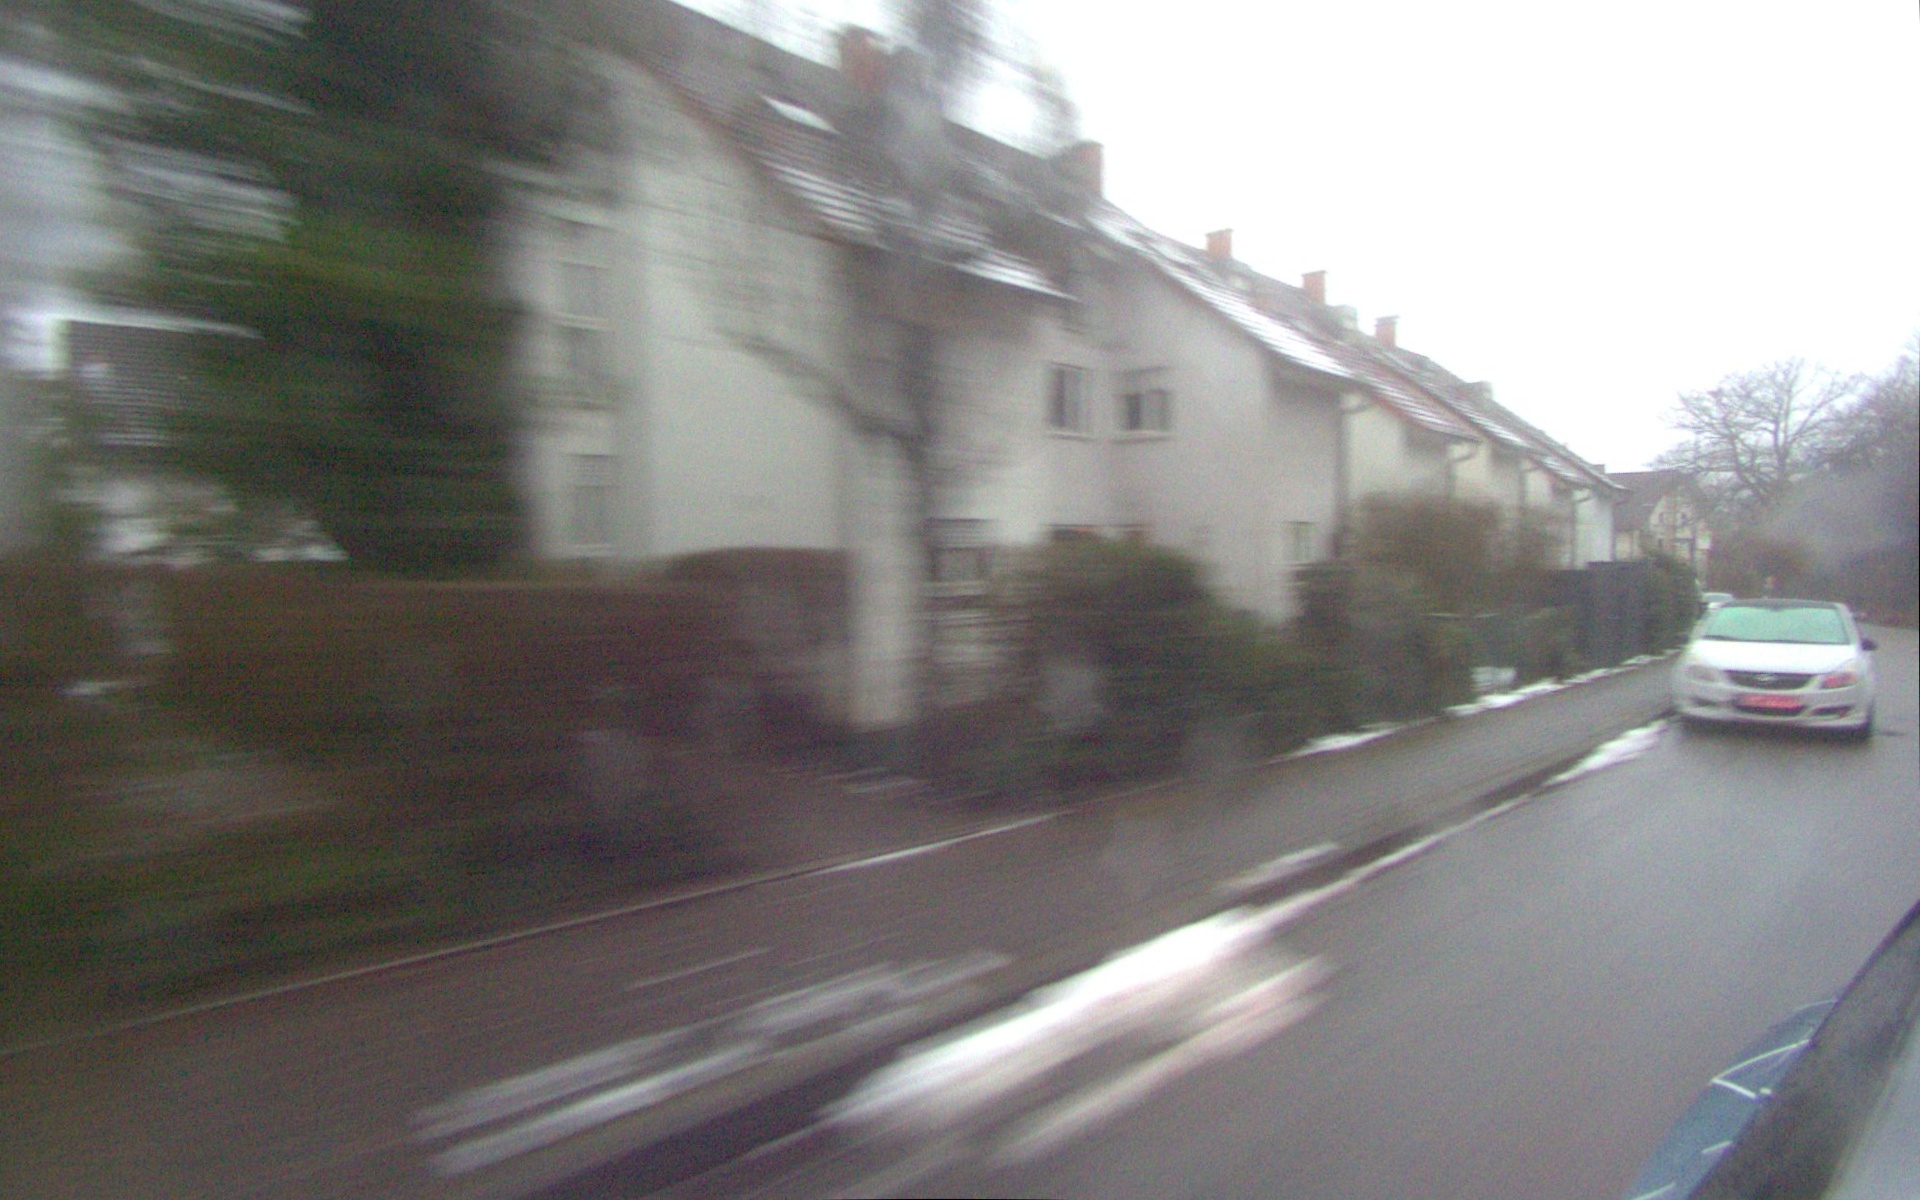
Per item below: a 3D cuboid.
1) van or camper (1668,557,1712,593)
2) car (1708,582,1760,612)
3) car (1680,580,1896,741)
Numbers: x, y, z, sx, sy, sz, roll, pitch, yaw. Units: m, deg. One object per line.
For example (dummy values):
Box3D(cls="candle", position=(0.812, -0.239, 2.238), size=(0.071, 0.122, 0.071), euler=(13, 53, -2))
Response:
Box3D(cls="van or camper", position=(54.479, -1.845, 75.655), size=(2.005, 2.539, 6.719), euler=(2, 2, 31))
Box3D(cls="car", position=(40.676, -0.179, 53.253), size=(1.730, 1.447, 4.407), euler=(-1, 1, 32))
Box3D(cls="car", position=(9.668, 0.550, 11.802), size=(1.702, 1.525, 3.965), euler=(0, 1, 41))
